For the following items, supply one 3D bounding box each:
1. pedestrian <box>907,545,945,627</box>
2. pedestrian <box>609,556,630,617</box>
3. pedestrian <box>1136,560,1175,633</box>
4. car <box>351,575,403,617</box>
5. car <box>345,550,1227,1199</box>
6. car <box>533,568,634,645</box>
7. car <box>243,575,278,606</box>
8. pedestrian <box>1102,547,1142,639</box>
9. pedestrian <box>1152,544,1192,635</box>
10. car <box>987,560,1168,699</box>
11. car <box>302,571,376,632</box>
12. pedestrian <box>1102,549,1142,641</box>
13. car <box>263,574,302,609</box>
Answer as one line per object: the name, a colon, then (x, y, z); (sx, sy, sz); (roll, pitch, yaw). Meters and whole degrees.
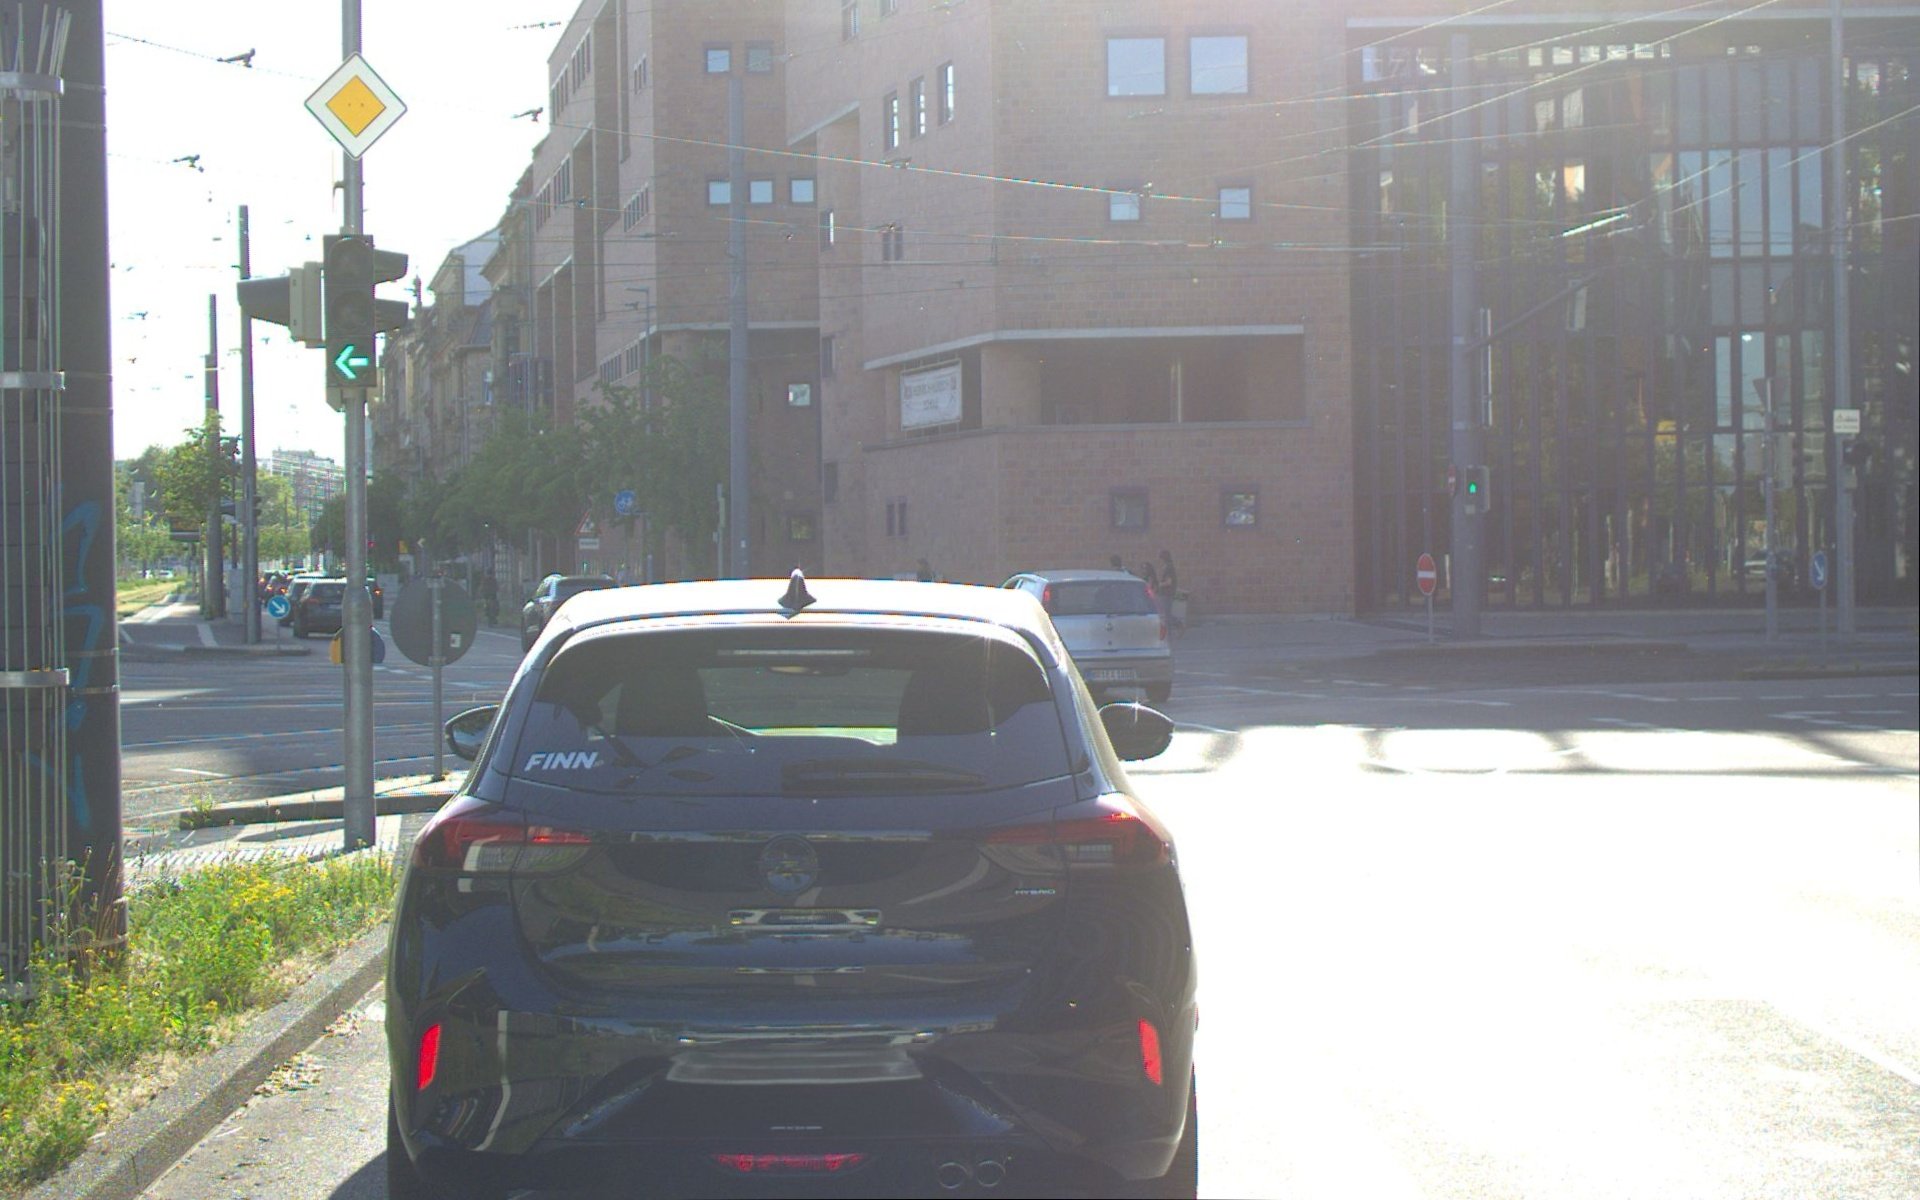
pedestrian: (-0.747, -0.310, 75.803); (0.640, 1.780, 0.688); (-2, 1, -14)
pedestrian: (-10.027, -0.399, 101.226); (0.547, 1.780, 0.573); (-1, 3, -8)
pedestrian: (3.970, -0.079, 69.846); (0.547, 1.472, 0.573); (-2, 2, -29)
car: (-21.173, -0.162, 124.753); (1.720, 1.448, 3.699); (-2, 1, -11)
car: (-0.355, 0.637, 8.408); (1.672, 1.496, 3.691); (1, 1, -1)
car: (-7.567, 0.112, 68.868); (1.670, 1.448, 3.699); (-2, 1, -11)
car: (-33.657, -0.457, 165.333); (1.514, 1.448, 3.585); (-2, 1, -13)
pedestrian: (3.191, -0.140, 67.835); (0.571, 1.780, 0.549); (-2, 1, -19)
pedestrian: (4.236, -0.211, 68.627); (0.571, 1.780, 0.549); (-2, 1, -19)
car: (1.263, 0.292, 38.314); (1.559, 1.451, 3.432); (-1, 1, -6)
car: (-15.538, 0.020, 85.966); (1.720, 1.448, 3.699); (-2, 1, -11)
pedestrian: (3.166, -0.104, 67.135); (0.571, 1.780, 0.549); (-2, 1, -19)
car: (-29.784, -0.394, 151.034); (1.514, 1.448, 3.585); (-2, 1, -13)
